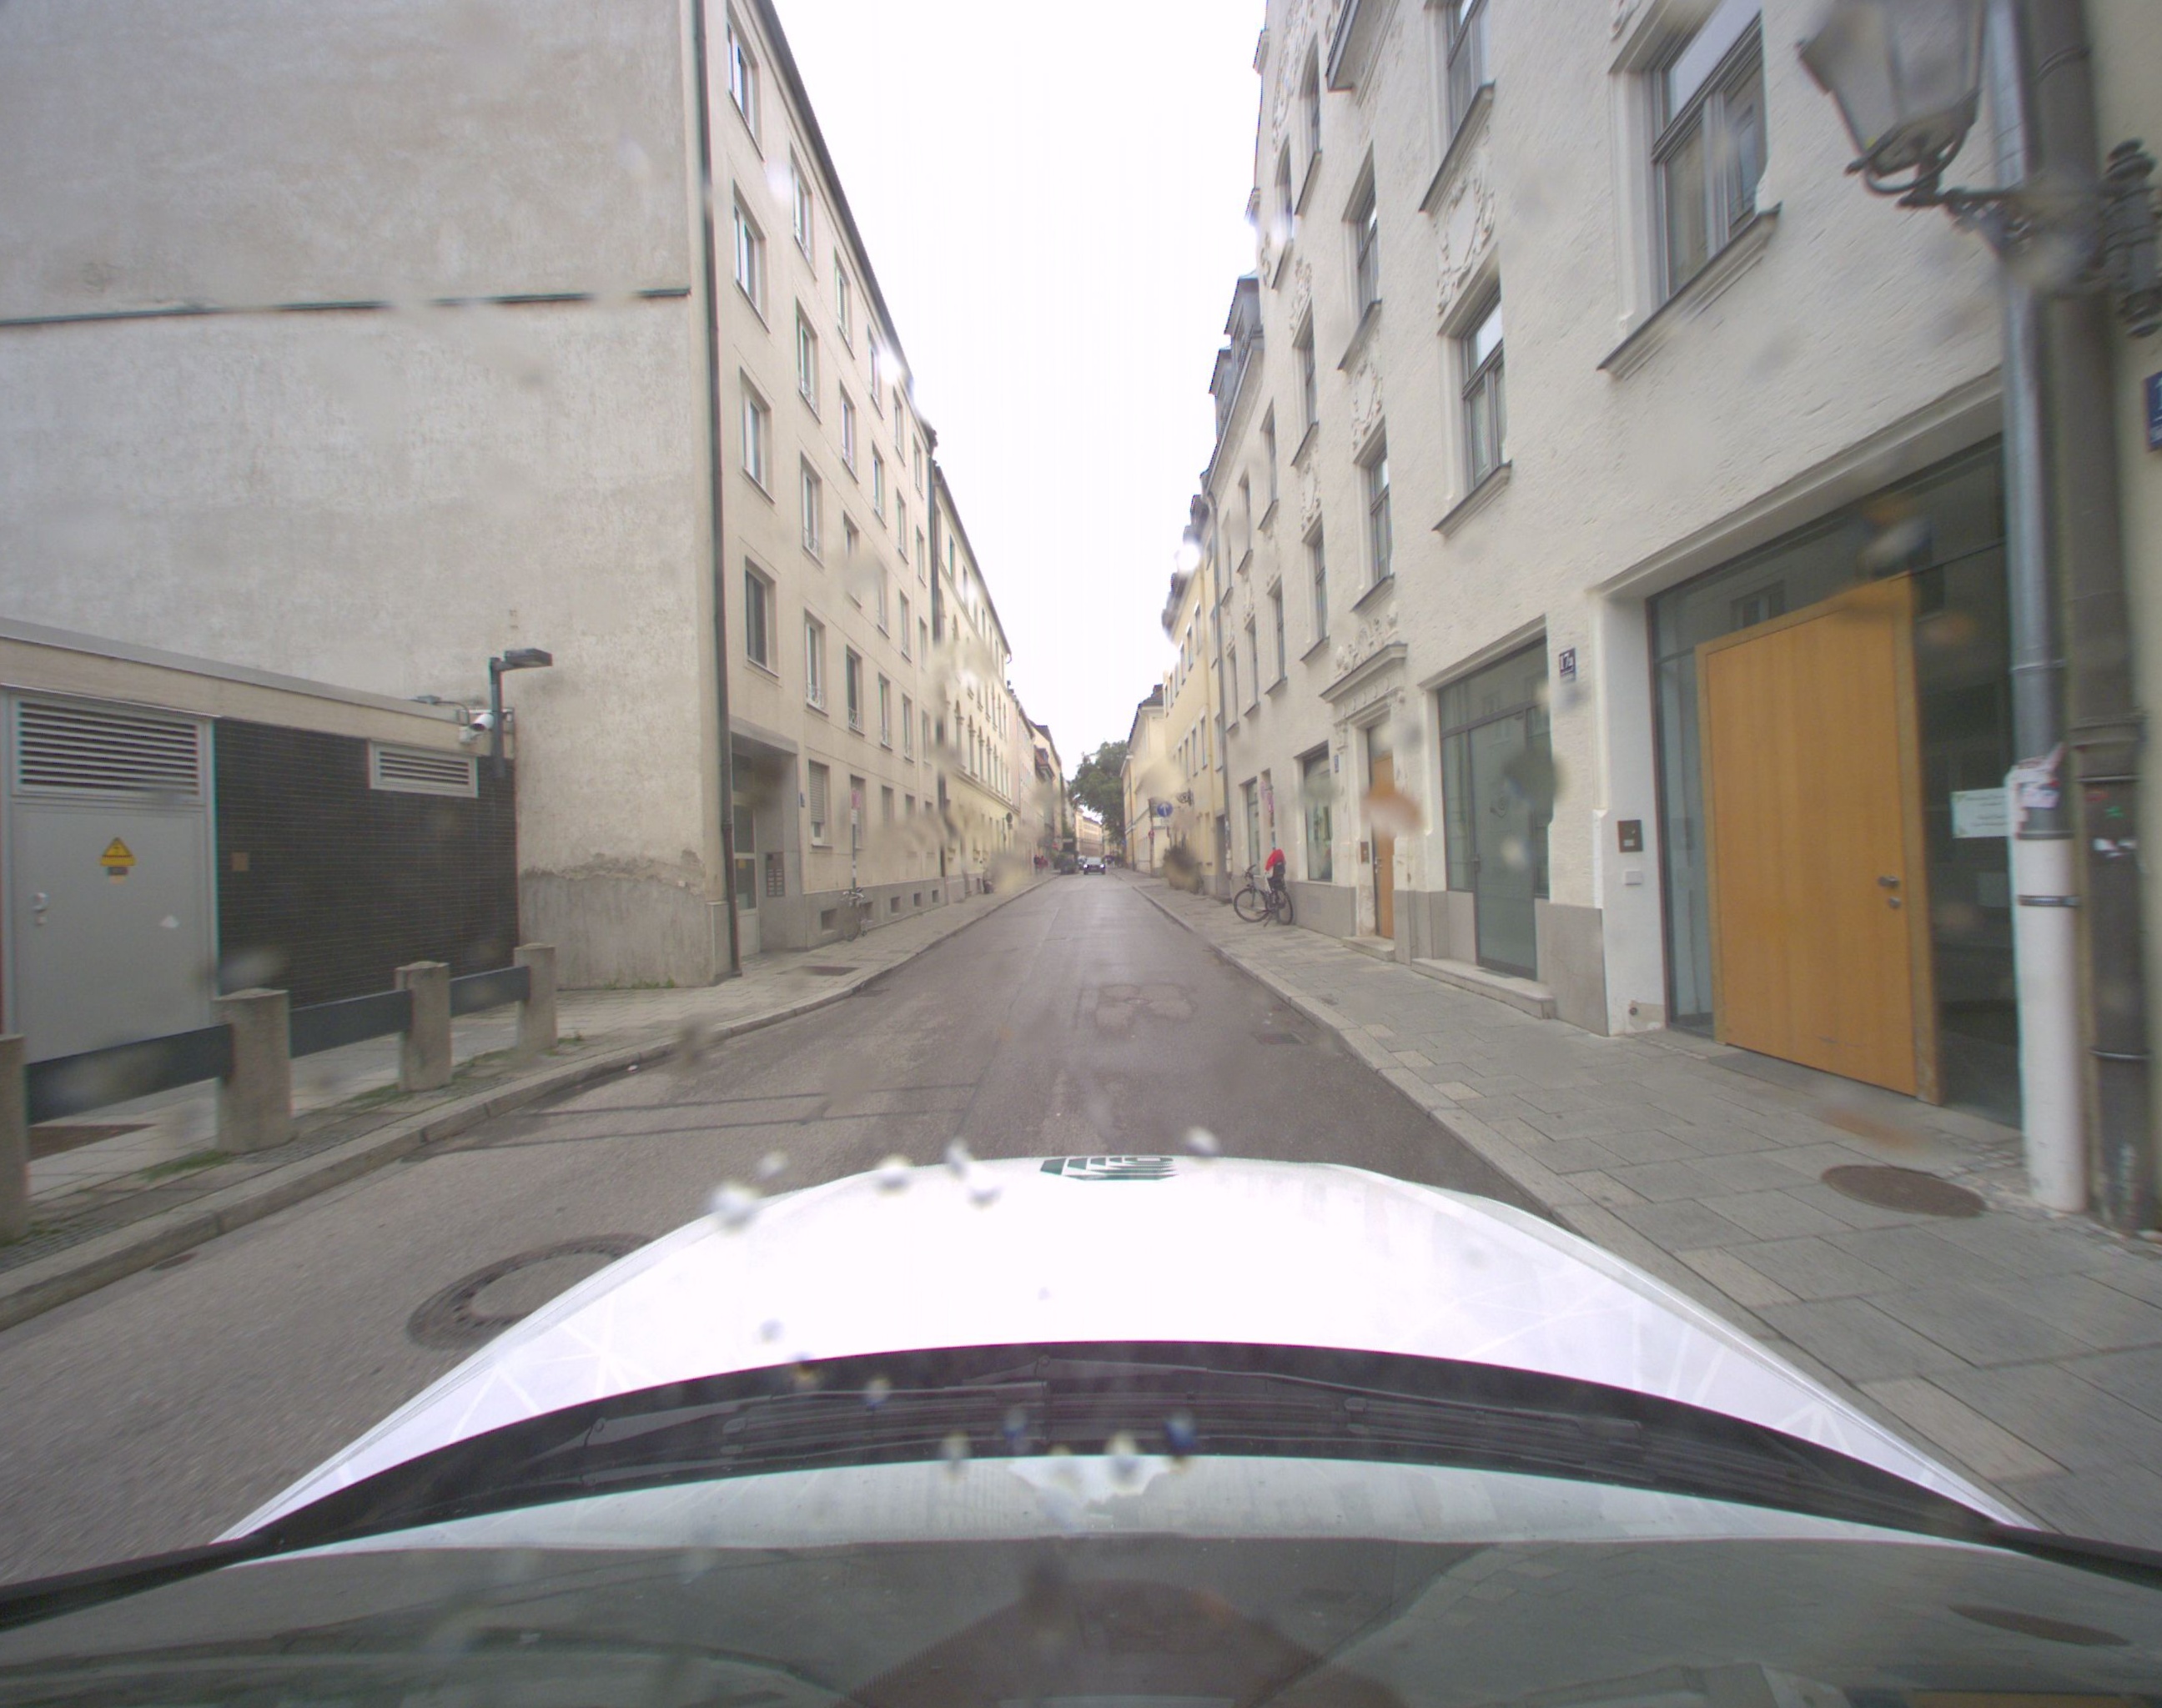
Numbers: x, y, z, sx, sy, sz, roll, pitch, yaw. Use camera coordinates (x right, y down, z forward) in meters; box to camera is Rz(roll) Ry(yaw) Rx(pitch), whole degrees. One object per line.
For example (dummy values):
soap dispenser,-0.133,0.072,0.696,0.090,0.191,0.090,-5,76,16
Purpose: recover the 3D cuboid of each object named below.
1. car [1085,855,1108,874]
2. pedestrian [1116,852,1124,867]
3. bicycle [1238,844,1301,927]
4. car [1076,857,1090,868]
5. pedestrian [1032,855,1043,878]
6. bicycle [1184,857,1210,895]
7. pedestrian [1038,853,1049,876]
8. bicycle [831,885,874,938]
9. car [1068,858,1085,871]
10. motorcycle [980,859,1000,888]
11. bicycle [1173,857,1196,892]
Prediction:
car,1.381,0.885,70.546,1.805,1.594,4.002,-2,0,2
pedestrian,4.599,0.640,96.180,0.877,1.802,1.046,-1,0,1
bicycle,3.505,0.551,15.348,0.710,1.396,2.123,-4,0,3
car,0.326,1.181,117.905,1.772,1.466,3.545,-1,0,4
pedestrian,-3.376,0.991,63.357,0.807,1.755,0.989,-1,1,-2
bicycle,3.753,0.702,26.434,0.563,1.137,1.988,-4,0,2
pedestrian,-2.800,0.814,61.355,0.763,1.708,0.785,-2,0,-2
bicycle,-4.562,1.122,16.325,0.318,0.944,1.575,1,0,3
car,-0.497,1.223,97.697,1.772,1.466,3.666,-1,0,4
motorcycle,-3.843,0.806,34.553,0.600,1.174,1.709,-1,0,1
bicycle,3.625,0.709,28.654,0.563,1.137,1.685,-4,0,2
